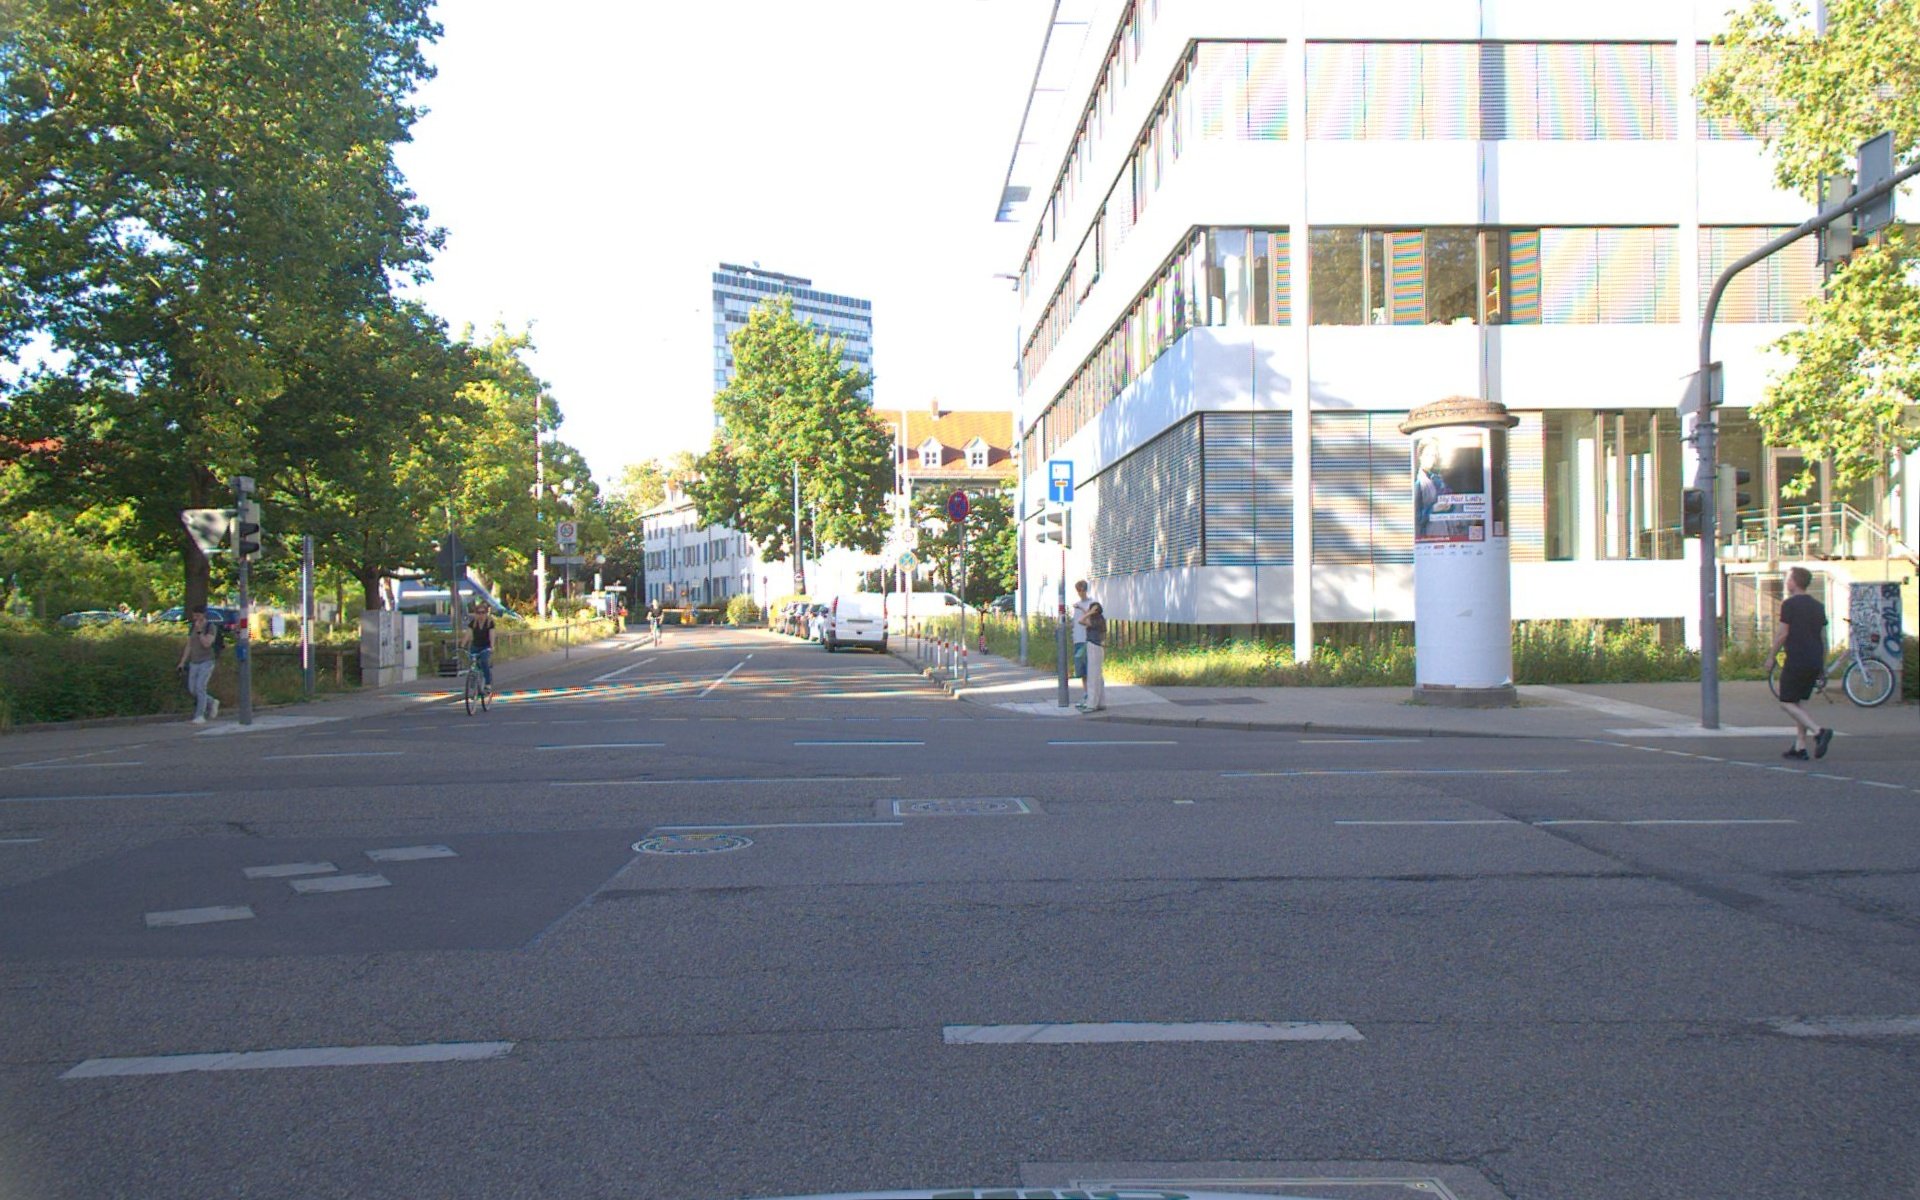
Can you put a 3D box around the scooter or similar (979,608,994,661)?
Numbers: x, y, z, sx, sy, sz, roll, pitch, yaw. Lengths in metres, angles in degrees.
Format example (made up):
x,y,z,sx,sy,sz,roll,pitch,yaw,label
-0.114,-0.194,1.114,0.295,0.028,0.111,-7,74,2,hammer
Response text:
x,y,z,sx,sy,sz,roll,pitch,yaw,label
0.741,0.950,45.727,0.323,1.449,1.334,1,-1,-2,scooter or similar

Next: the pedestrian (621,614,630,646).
x,y,z,sx,sy,sz,roll,pitch,yaw,label
-17.456,1.565,86.255,0.425,1.636,0.491,-1,0,-10,pedestrian

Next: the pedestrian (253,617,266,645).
x,y,z,sx,sy,sz,roll,pitch,yaw,label
-34.461,1.502,81.324,0.550,1.347,0.573,-1,0,-23,pedestrian

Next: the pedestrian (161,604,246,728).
x,y,z,sx,sy,sz,roll,pitch,yaw,label
-11.035,0.951,24.153,0.688,1.753,0.955,-2,0,6,pedestrian

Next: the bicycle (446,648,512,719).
x,y,z,sx,sy,sz,roll,pitch,yaw,label
-7.366,1.266,25.410,0.603,0.987,1.839,-1,0,-5,bicycle

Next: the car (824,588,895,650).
x,y,z,sx,sy,sz,roll,pitch,yaw,label
-3.209,0.559,52.261,2.045,1.827,4.409,0,1,-6,car

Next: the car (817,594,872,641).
x,y,z,sx,sy,sz,roll,pitch,yaw,label
-4.271,0.608,60.452,1.852,1.583,4.409,0,1,-6,car

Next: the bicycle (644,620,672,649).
x,y,z,sx,sy,sz,roll,pitch,yaw,label
-11.288,1.280,61.911,0.849,1.027,2.410,-3,0,-7,bicycle

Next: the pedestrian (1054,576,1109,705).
x,y,z,sx,sy,sz,roll,pitch,yaw,label
1.823,0.602,24.852,0.548,1.883,0.677,-4,0,20,pedestrian

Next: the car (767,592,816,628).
x,y,z,sx,sy,sz,roll,pitch,yaw,label
-8.515,0.488,83.325,1.857,1.684,4.398,0,1,-15,car

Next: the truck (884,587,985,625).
x,y,z,sx,sy,sz,roll,pitch,yaw,label
-1.409,0.323,90.466,5.250,2.049,1.992,0,0,-16,truck

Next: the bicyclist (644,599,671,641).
x,y,z,sx,sy,sz,roll,pitch,yaw,label
-11.310,0.745,61.930,0.849,1.542,1.017,-3,0,-7,bicyclist

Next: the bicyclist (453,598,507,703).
x,y,z,sx,sy,sz,roll,pitch,yaw,label
-7.375,0.763,25.425,0.603,1.559,0.902,-1,0,-5,bicyclist

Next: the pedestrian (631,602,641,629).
x,y,z,sx,sy,sz,roll,pitch,yaw,label
-20.249,0.970,103.301,0.536,1.706,0.474,-1,0,-13,pedestrian

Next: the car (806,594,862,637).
x,y,z,sx,sy,sz,roll,pitch,yaw,label
-5.043,0.578,65.884,1.854,1.583,4.406,0,1,-9,car

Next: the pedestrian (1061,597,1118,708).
x,y,z,sx,sy,sz,roll,pitch,yaw,label
1.894,0.763,24.239,0.550,1.567,0.674,-4,0,-15,pedestrian

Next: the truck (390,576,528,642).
x,y,z,sx,sy,sz,roll,pitch,yaw,label
-19.198,0.332,63.567,4.735,2.441,2.085,0,0,-6,truck

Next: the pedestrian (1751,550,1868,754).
x,y,z,sx,sy,sz,roll,pitch,yaw,label
8.074,0.479,15.745,0.692,1.872,0.837,1,0,3,pedestrian

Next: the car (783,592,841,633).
x,y,z,sx,sy,sz,roll,pitch,yaw,label
-6.574,0.516,73.245,1.857,1.684,4.398,0,1,-15,car

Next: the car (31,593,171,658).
x,y,z,sx,sy,sz,roll,pitch,yaw,label
-34.432,1.013,66.423,4.466,2.433,2.072,-2,-1,-5,car

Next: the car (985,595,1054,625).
x,y,z,sx,sy,sz,roll,pitch,yaw,label
3.280,0.546,91.363,3.496,1.573,1.552,0,0,-16,car

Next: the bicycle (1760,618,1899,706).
x,y,z,sx,sy,sz,roll,pitch,yaw,label
11.778,0.815,22.461,0.502,1.067,1.670,-2,3,-31,bicycle
